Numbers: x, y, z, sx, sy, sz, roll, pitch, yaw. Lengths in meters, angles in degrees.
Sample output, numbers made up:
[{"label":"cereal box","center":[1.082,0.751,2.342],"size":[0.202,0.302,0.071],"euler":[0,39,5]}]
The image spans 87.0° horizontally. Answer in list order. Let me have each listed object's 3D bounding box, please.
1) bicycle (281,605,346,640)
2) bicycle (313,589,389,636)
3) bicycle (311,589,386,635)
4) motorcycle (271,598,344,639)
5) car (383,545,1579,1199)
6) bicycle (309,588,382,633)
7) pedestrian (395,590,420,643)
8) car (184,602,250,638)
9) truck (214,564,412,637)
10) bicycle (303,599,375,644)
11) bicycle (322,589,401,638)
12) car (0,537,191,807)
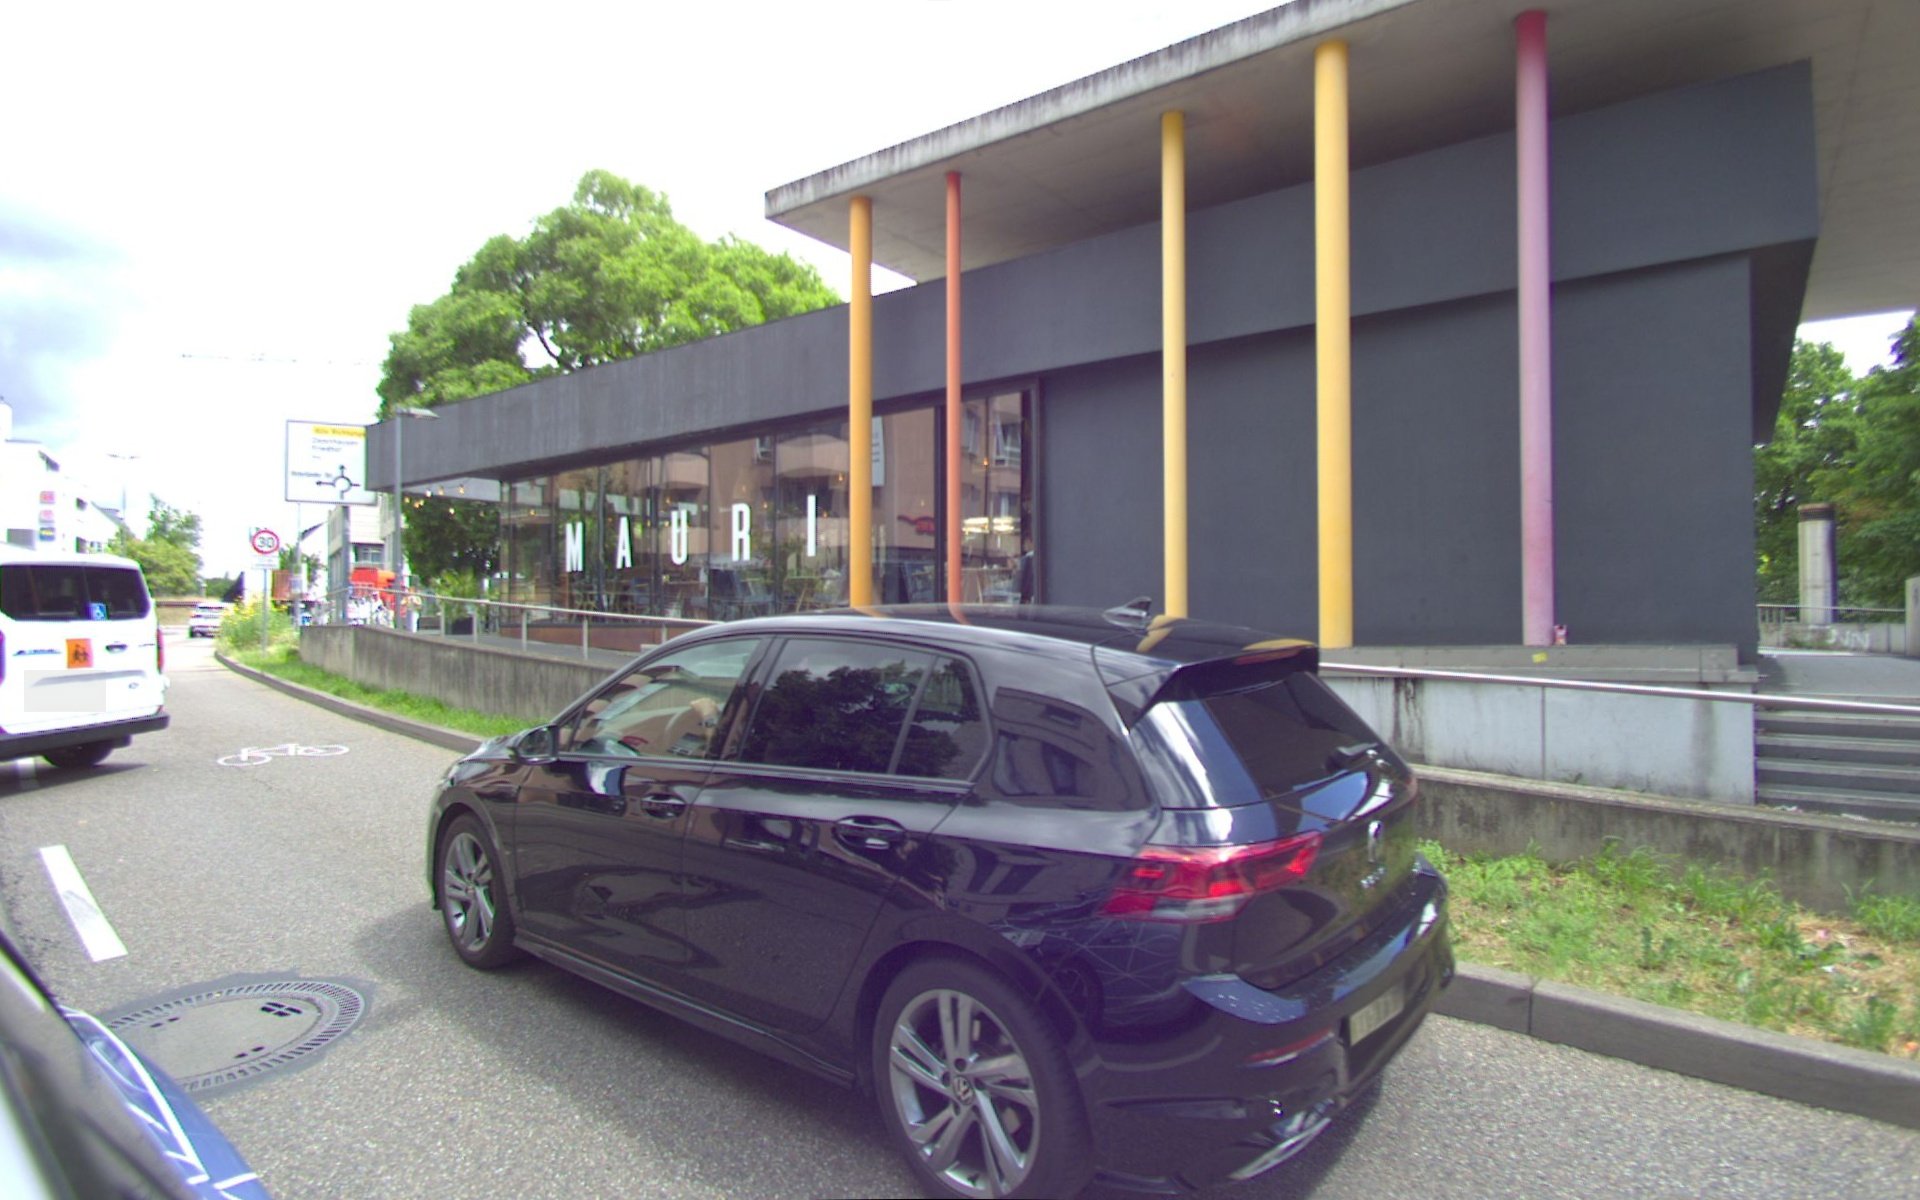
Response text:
[{"label":"bicycle","center":[-20.558,0.727,32.224],"size":[1.666,1.090,0.515],"euler":[2,-3,-44]},{"label":"bicycle","center":[-14.935,0.317,24.830],"size":[1.527,1.136,0.534],"euler":[2,-2,-40]},{"label":"bicycle","center":[-15.377,0.314,25.466],"size":[1.527,1.136,0.534],"euler":[2,-2,-40]},{"label":"motorcycle","center":[-24.011,0.695,37.267],"size":[2.162,1.460,0.649],"euler":[2,-1,-41]},{"label":"car","center":[-0.358,0.669,3.693],"size":[4.232,1.475,1.754],"euler":[-1,0,41]},{"label":"bicycle","center":[-15.828,0.291,26.095],"size":[1.527,1.136,0.534],"euler":[2,-2,-40]},{"label":"pedestrian","center":[-17.297,0.509,31.689],"size":[0.651,1.641,0.802],"euler":[0,-2,-32]},{"label":"car","center":[-34.632,0.928,47.278],"size":[1.797,1.596,4.178],"euler":[3,-2,-27]},{"label":"truck","center":[-37.875,-0.041,59.958],"size":[2.660,3.871,10.787],"euler":[1,1,17]},{"label":"bicycle","center":[-16.352,0.570,26.672],"size":[1.527,1.136,0.534],"euler":[2,-2,-40]},{"label":"bicycle","center":[-14.181,0.330,24.012],"size":[1.527,1.136,0.534],"euler":[2,-2,-40]},{"label":"car","center":[-9.865,0.583,8.510],"size":[5.320,2.029,1.999],"euler":[-1,0,1]}]
